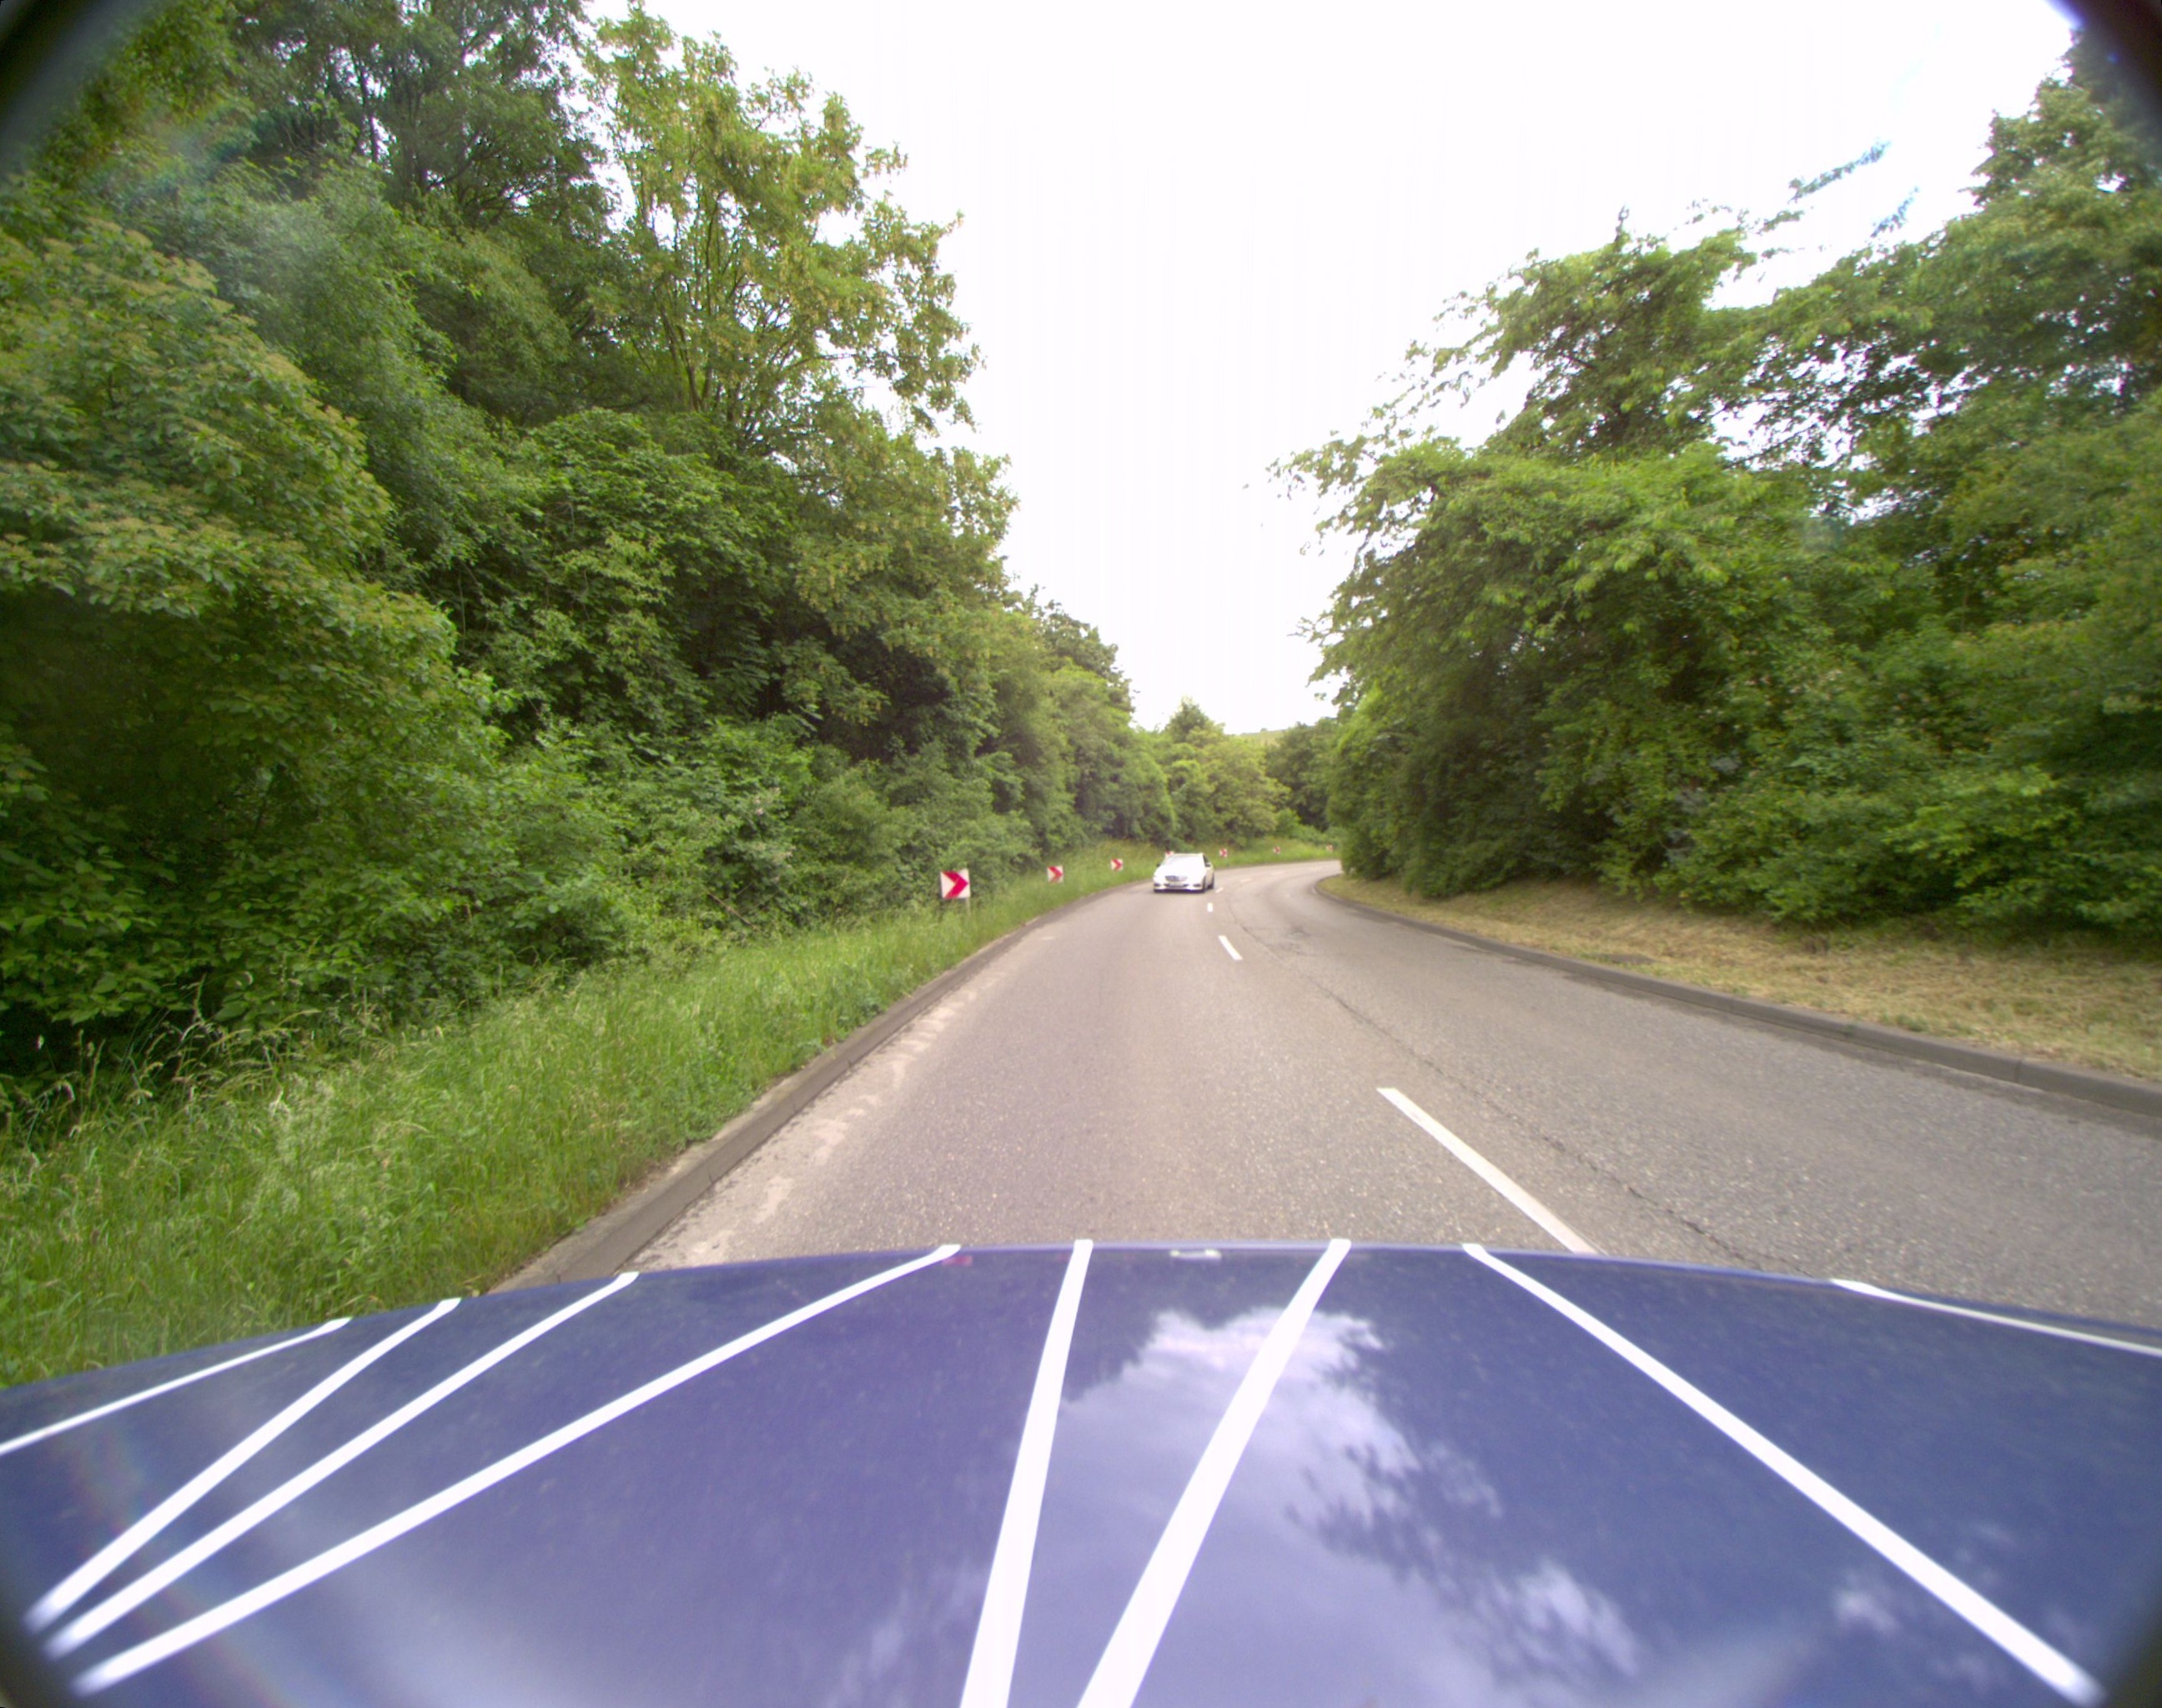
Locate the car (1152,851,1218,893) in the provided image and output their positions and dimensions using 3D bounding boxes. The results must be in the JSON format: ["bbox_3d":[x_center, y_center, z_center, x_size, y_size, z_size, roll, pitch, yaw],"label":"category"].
[{"bbox_3d":[4.071,0.617,29.187,1.864,1.423,4.360,0,1,16],"label":"car"}]
